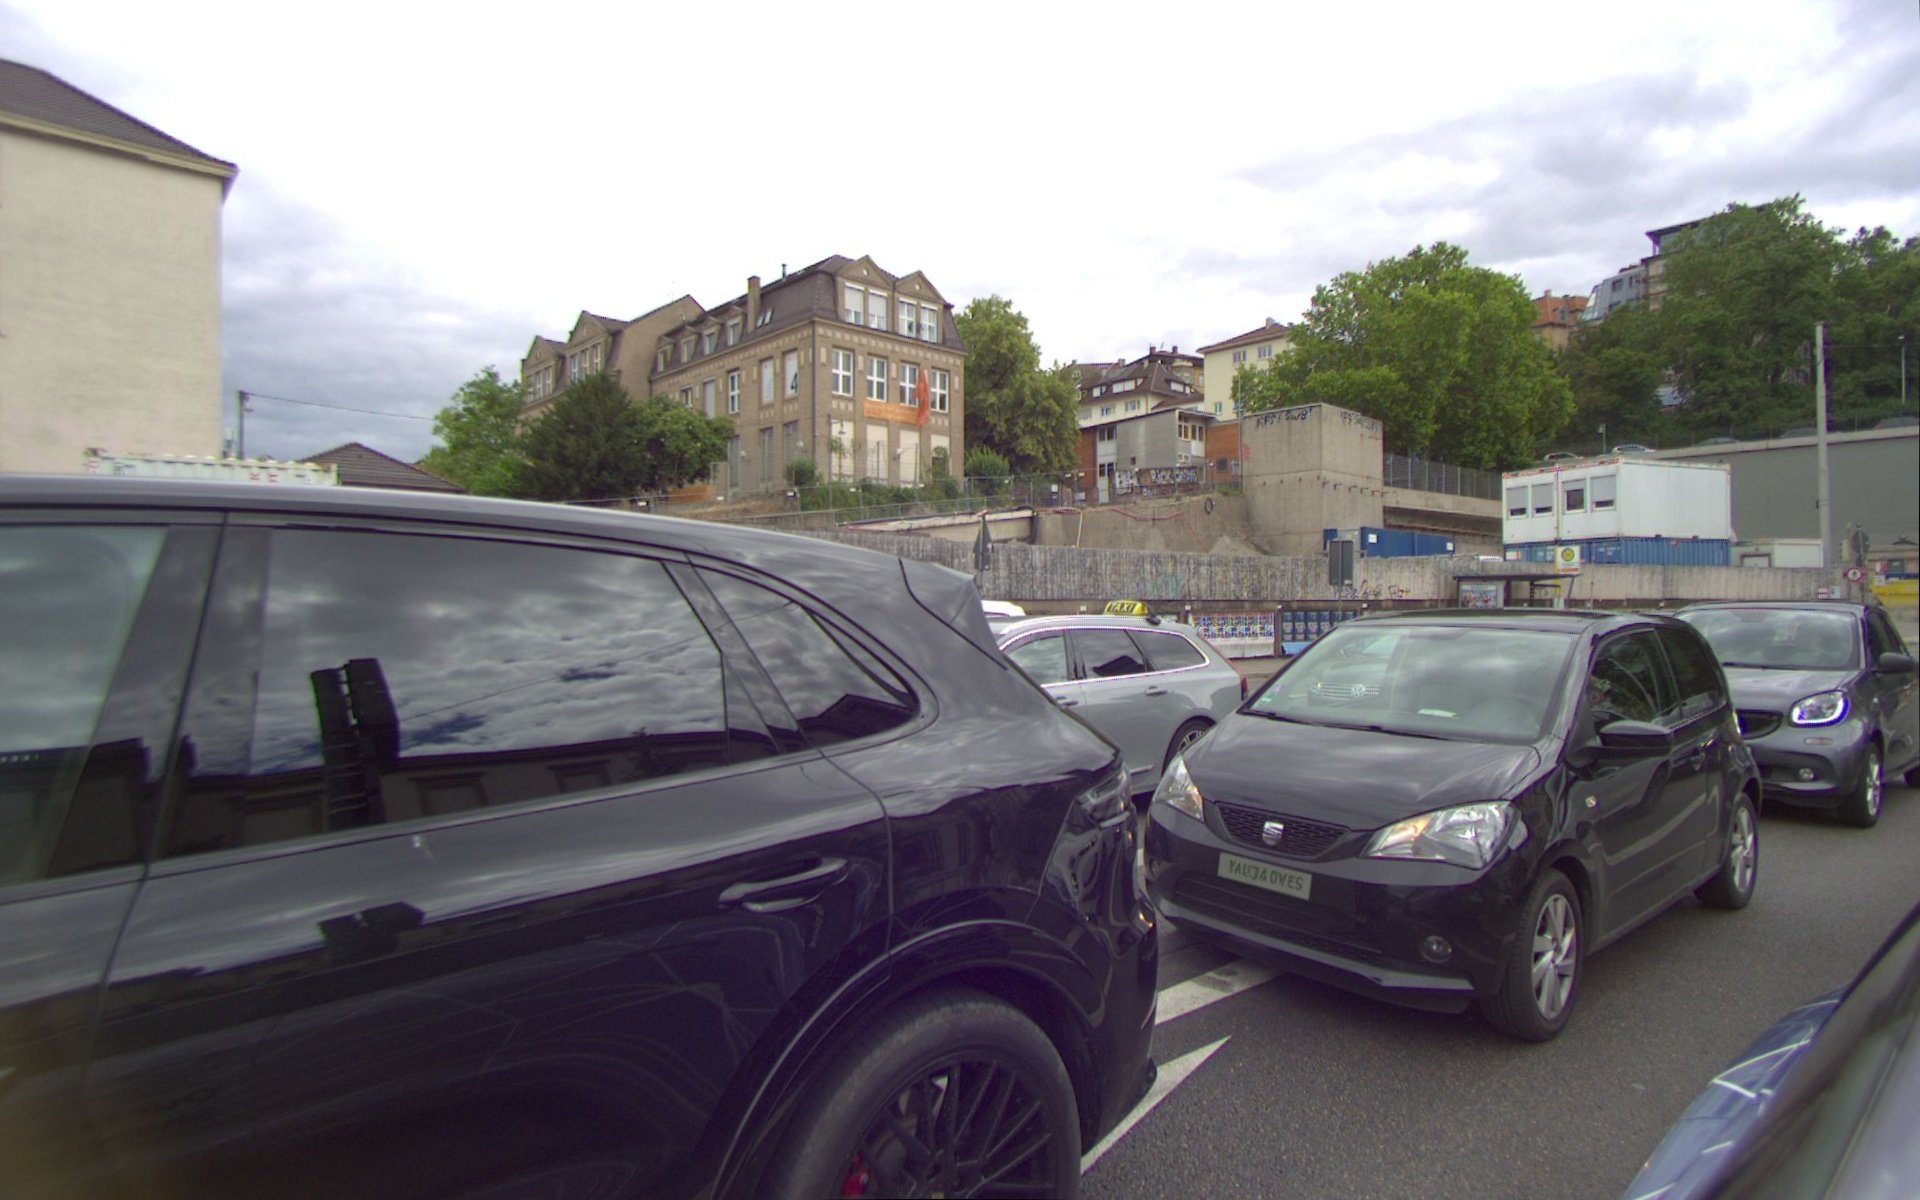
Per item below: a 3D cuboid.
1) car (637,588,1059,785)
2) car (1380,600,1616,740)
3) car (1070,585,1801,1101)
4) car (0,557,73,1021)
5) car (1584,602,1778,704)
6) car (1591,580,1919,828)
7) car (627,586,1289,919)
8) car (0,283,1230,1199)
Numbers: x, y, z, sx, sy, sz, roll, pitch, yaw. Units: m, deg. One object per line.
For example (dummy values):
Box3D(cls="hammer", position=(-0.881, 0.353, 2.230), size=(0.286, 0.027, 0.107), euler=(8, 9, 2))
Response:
Box3D(cls="car", position=(-1.012, 0.703, 10.484), size=(4.136, 1.645, 1.679), euler=(-1, 0, -41))
Box3D(cls="car", position=(6.545, 0.743, 12.261), size=(2.666, 1.449, 1.664), euler=(-1, 0, -40))
Box3D(cls="car", position=(2.431, 0.676, 4.797), size=(3.636, 1.476, 1.827), euler=(-1, 0, -41))
Box3D(cls="car", position=(-5.309, 0.685, 3.045), size=(3.930, 1.645, 1.679), euler=(-1, 0, -41))
Box3D(cls="car", position=(11.502, 0.744, 16.061), size=(3.740, 1.383, 1.679), euler=(-1, 0, -41))
Box3D(cls="car", position=(6.703, 0.659, 8.191), size=(3.511, 1.563, 1.720), euler=(0, 0, -40))
Box3D(cls="car", position=(0.264, 0.728, 7.268), size=(4.725, 1.645, 1.827), euler=(-1, 0, -41))
Box3D(cls="car", position=(-1.627, 0.554, 1.606), size=(4.406, 1.736, 1.827), euler=(-1, 0, -41))
